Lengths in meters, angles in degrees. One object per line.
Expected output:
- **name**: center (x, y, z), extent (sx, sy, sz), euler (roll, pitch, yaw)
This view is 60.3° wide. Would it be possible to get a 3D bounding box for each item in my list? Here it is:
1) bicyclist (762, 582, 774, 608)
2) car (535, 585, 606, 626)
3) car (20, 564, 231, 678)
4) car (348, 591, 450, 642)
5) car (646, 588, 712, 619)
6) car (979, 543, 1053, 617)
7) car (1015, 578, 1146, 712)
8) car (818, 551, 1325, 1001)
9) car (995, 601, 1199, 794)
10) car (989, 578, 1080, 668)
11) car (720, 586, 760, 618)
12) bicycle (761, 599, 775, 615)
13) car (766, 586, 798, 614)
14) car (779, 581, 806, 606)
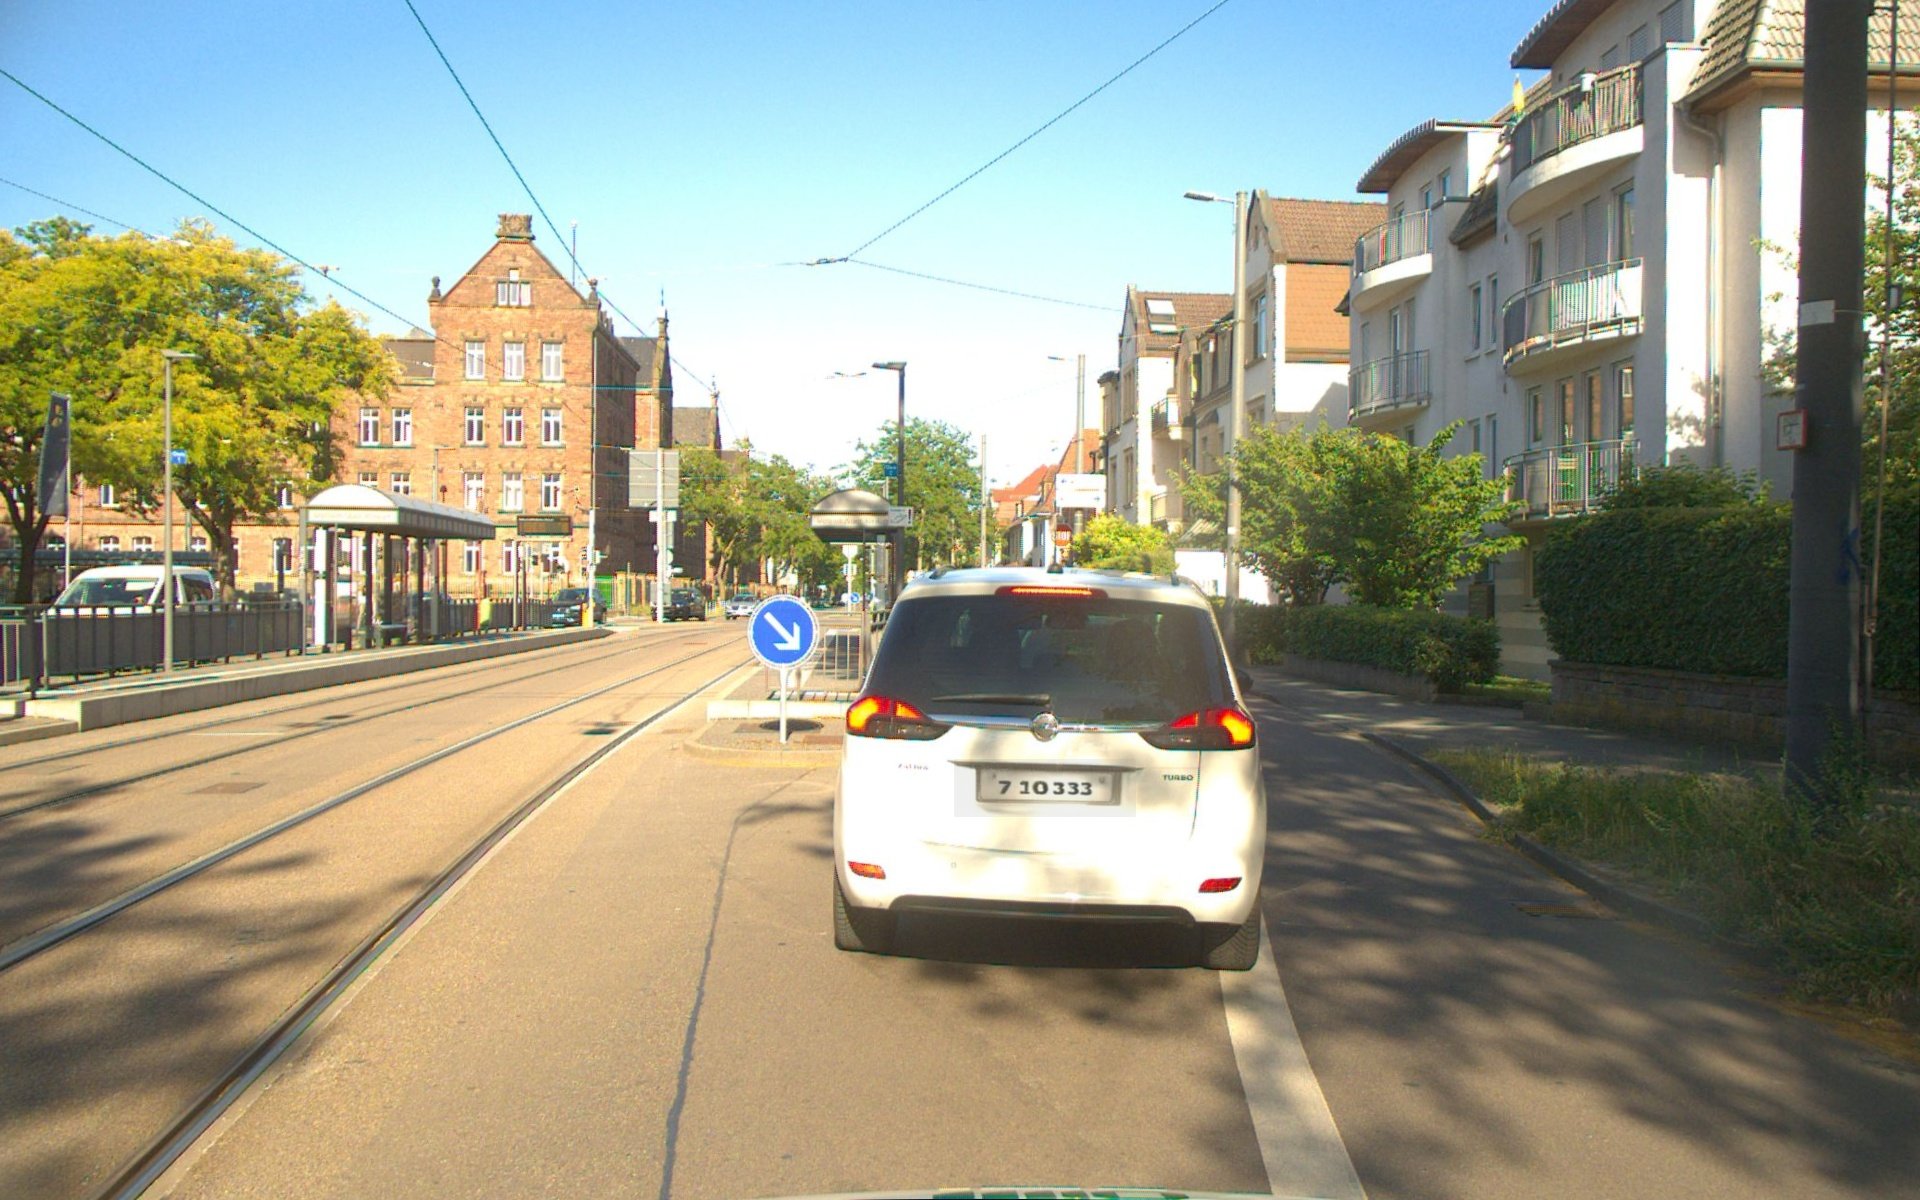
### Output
- **bicyclist**: center (-12.591, -0.326, 108.428), extent (0.711, 1.717, 1.169), euler (1, 1, -2)
- **car**: center (-16.155, 0.251, 68.816), extent (1.789, 1.645, 4.328), euler (1, -1, 1)
- **car**: center (-14.259, 0.323, 28.549), extent (1.791, 1.819, 4.250), euler (0, 0, -5)
- **car**: center (-16.331, 0.442, 48.356), extent (1.763, 1.406, 4.491), euler (0, 1, -4)
- **car**: center (-14.027, 0.193, 82.691), extent (1.788, 1.471, 4.331), euler (1, -1, 12)
- **car**: center (1.328, -0.497, 40.367), extent (1.563, 1.663, 3.901), euler (2, 1, -1)
- **car**: center (1.597, 0.555, 22.911), extent (1.537, 1.643, 3.784), euler (2, 0, 1)
- **car**: center (0.564, 0.630, 8.088), extent (1.838, 1.613, 4.002), euler (1, 0, 5)
- **car**: center (1.222, 0.759, 14.794), extent (1.536, 1.426, 3.786), euler (2, 0, 5)
- **car**: center (1.467, 0.442, 33.760), extent (1.563, 1.663, 3.900), euler (2, 0, -1)
- **car**: center (-12.794, 0.121, 96.487), extent (1.790, 1.819, 4.326), euler (1, -1, -1)
- **bicycle**: center (-12.598, 0.473, 108.417), extent (0.711, 0.982, 2.060), euler (1, 1, -2)
- **car**: center (-13.342, 0.011, 124.124), extent (1.952, 2.049, 4.000), euler (1, 0, 0)
- **car**: center (-13.820, -0.515, 136.738), extent (1.953, 2.049, 3.998), euler (1, 0, -2)
